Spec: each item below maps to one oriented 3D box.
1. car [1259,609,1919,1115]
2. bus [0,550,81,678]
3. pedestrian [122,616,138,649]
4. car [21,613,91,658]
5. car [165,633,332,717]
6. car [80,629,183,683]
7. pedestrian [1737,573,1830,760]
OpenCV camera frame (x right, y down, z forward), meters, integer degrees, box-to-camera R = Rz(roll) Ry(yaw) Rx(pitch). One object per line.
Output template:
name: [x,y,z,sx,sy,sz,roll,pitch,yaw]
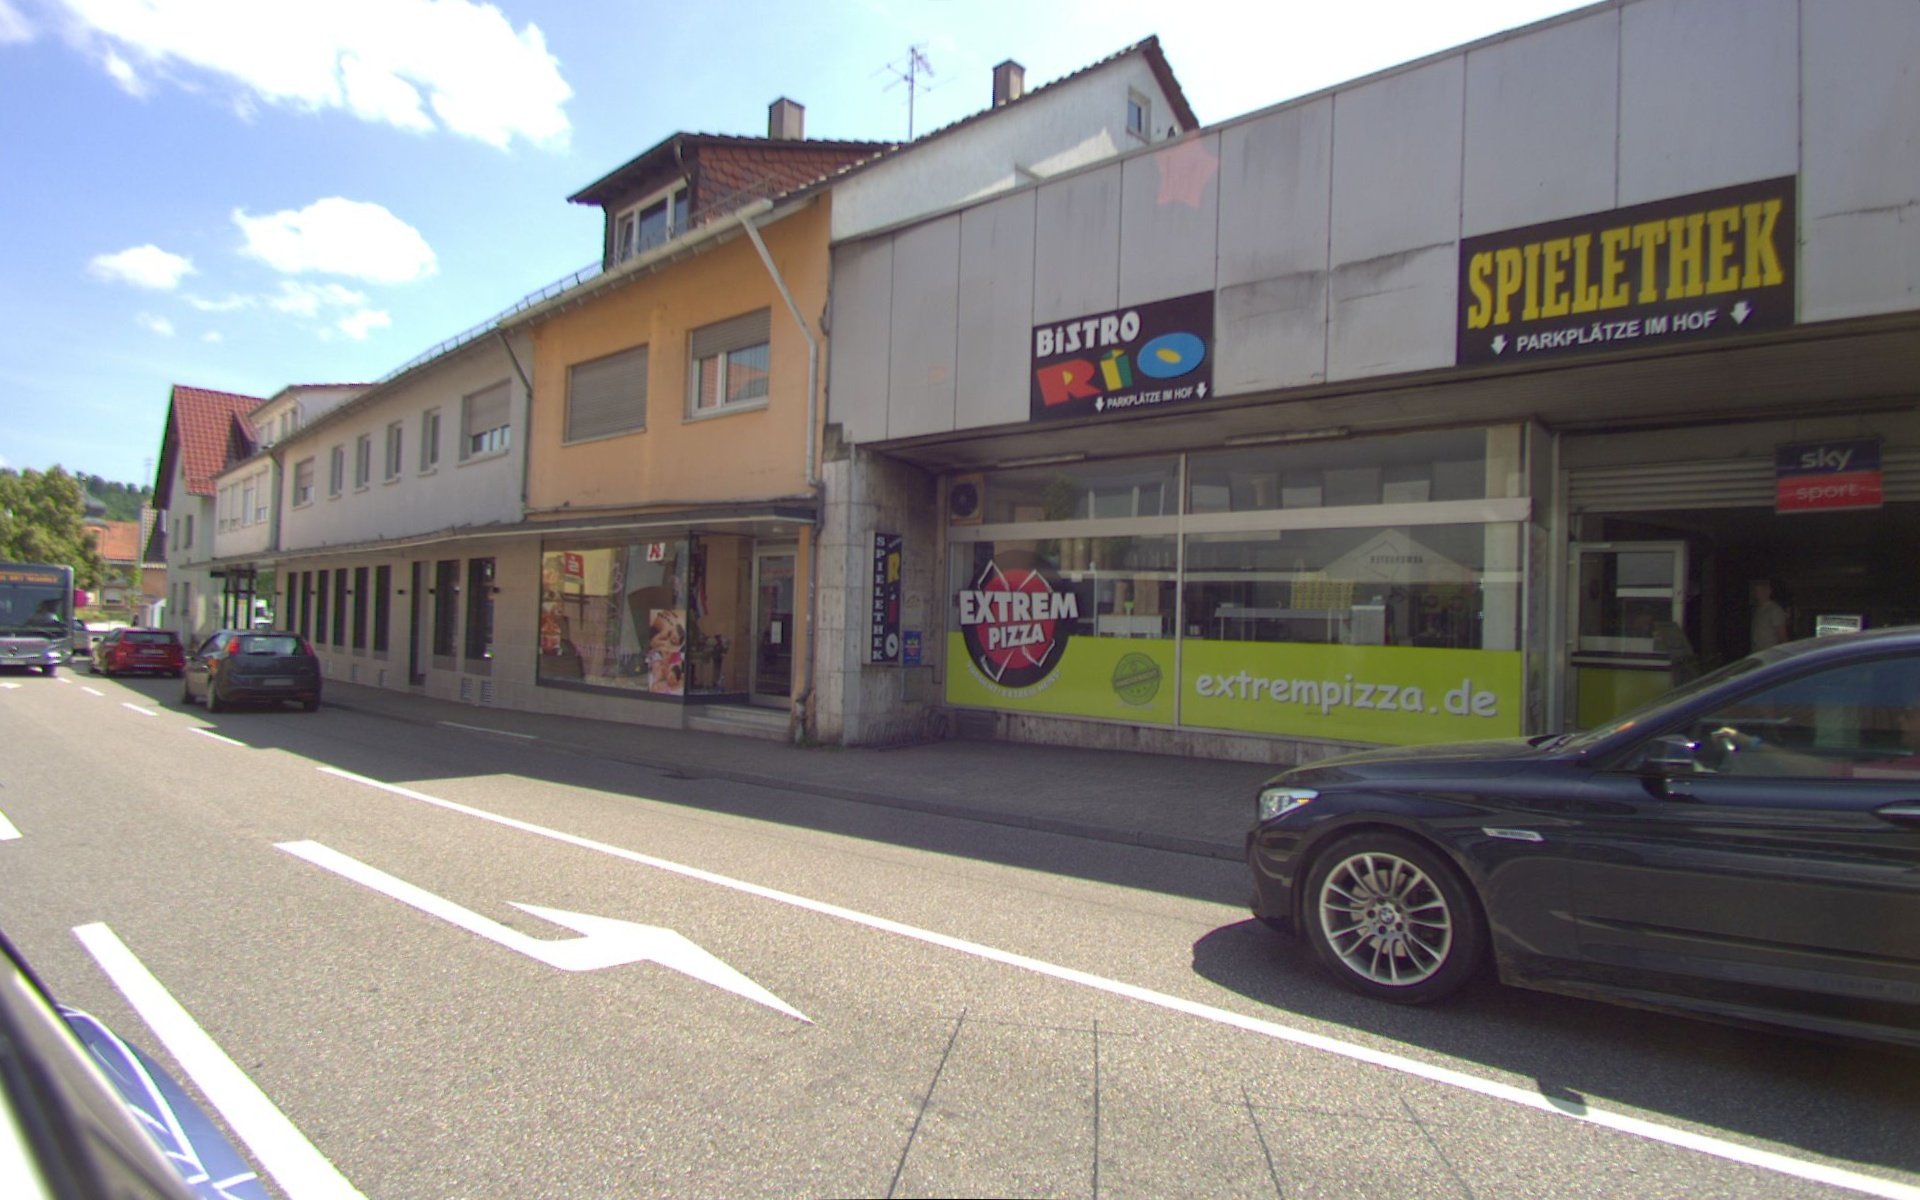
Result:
car: [3.694,0.839,3.493,4.794,1.498,1.778,-1,-5,41]
bus: [-31.297,0.550,31.868,19.022,3.229,2.822,-2,-2,41]
pedestrian: [-45.243,1.756,55.168,0.475,1.777,0.468,1,-2,21]
car: [-36.621,1.463,40.974,3.821,1.629,1.661,-2,-7,43]
car: [-13.442,1.378,19.057,3.819,1.434,1.699,-2,-5,42]
car: [-24.015,1.612,29.290,4.285,1.419,1.698,-2,-6,43]
pedestrian: [8.526,0.668,10.478,0.694,1.842,0.734,-2,-2,41]
